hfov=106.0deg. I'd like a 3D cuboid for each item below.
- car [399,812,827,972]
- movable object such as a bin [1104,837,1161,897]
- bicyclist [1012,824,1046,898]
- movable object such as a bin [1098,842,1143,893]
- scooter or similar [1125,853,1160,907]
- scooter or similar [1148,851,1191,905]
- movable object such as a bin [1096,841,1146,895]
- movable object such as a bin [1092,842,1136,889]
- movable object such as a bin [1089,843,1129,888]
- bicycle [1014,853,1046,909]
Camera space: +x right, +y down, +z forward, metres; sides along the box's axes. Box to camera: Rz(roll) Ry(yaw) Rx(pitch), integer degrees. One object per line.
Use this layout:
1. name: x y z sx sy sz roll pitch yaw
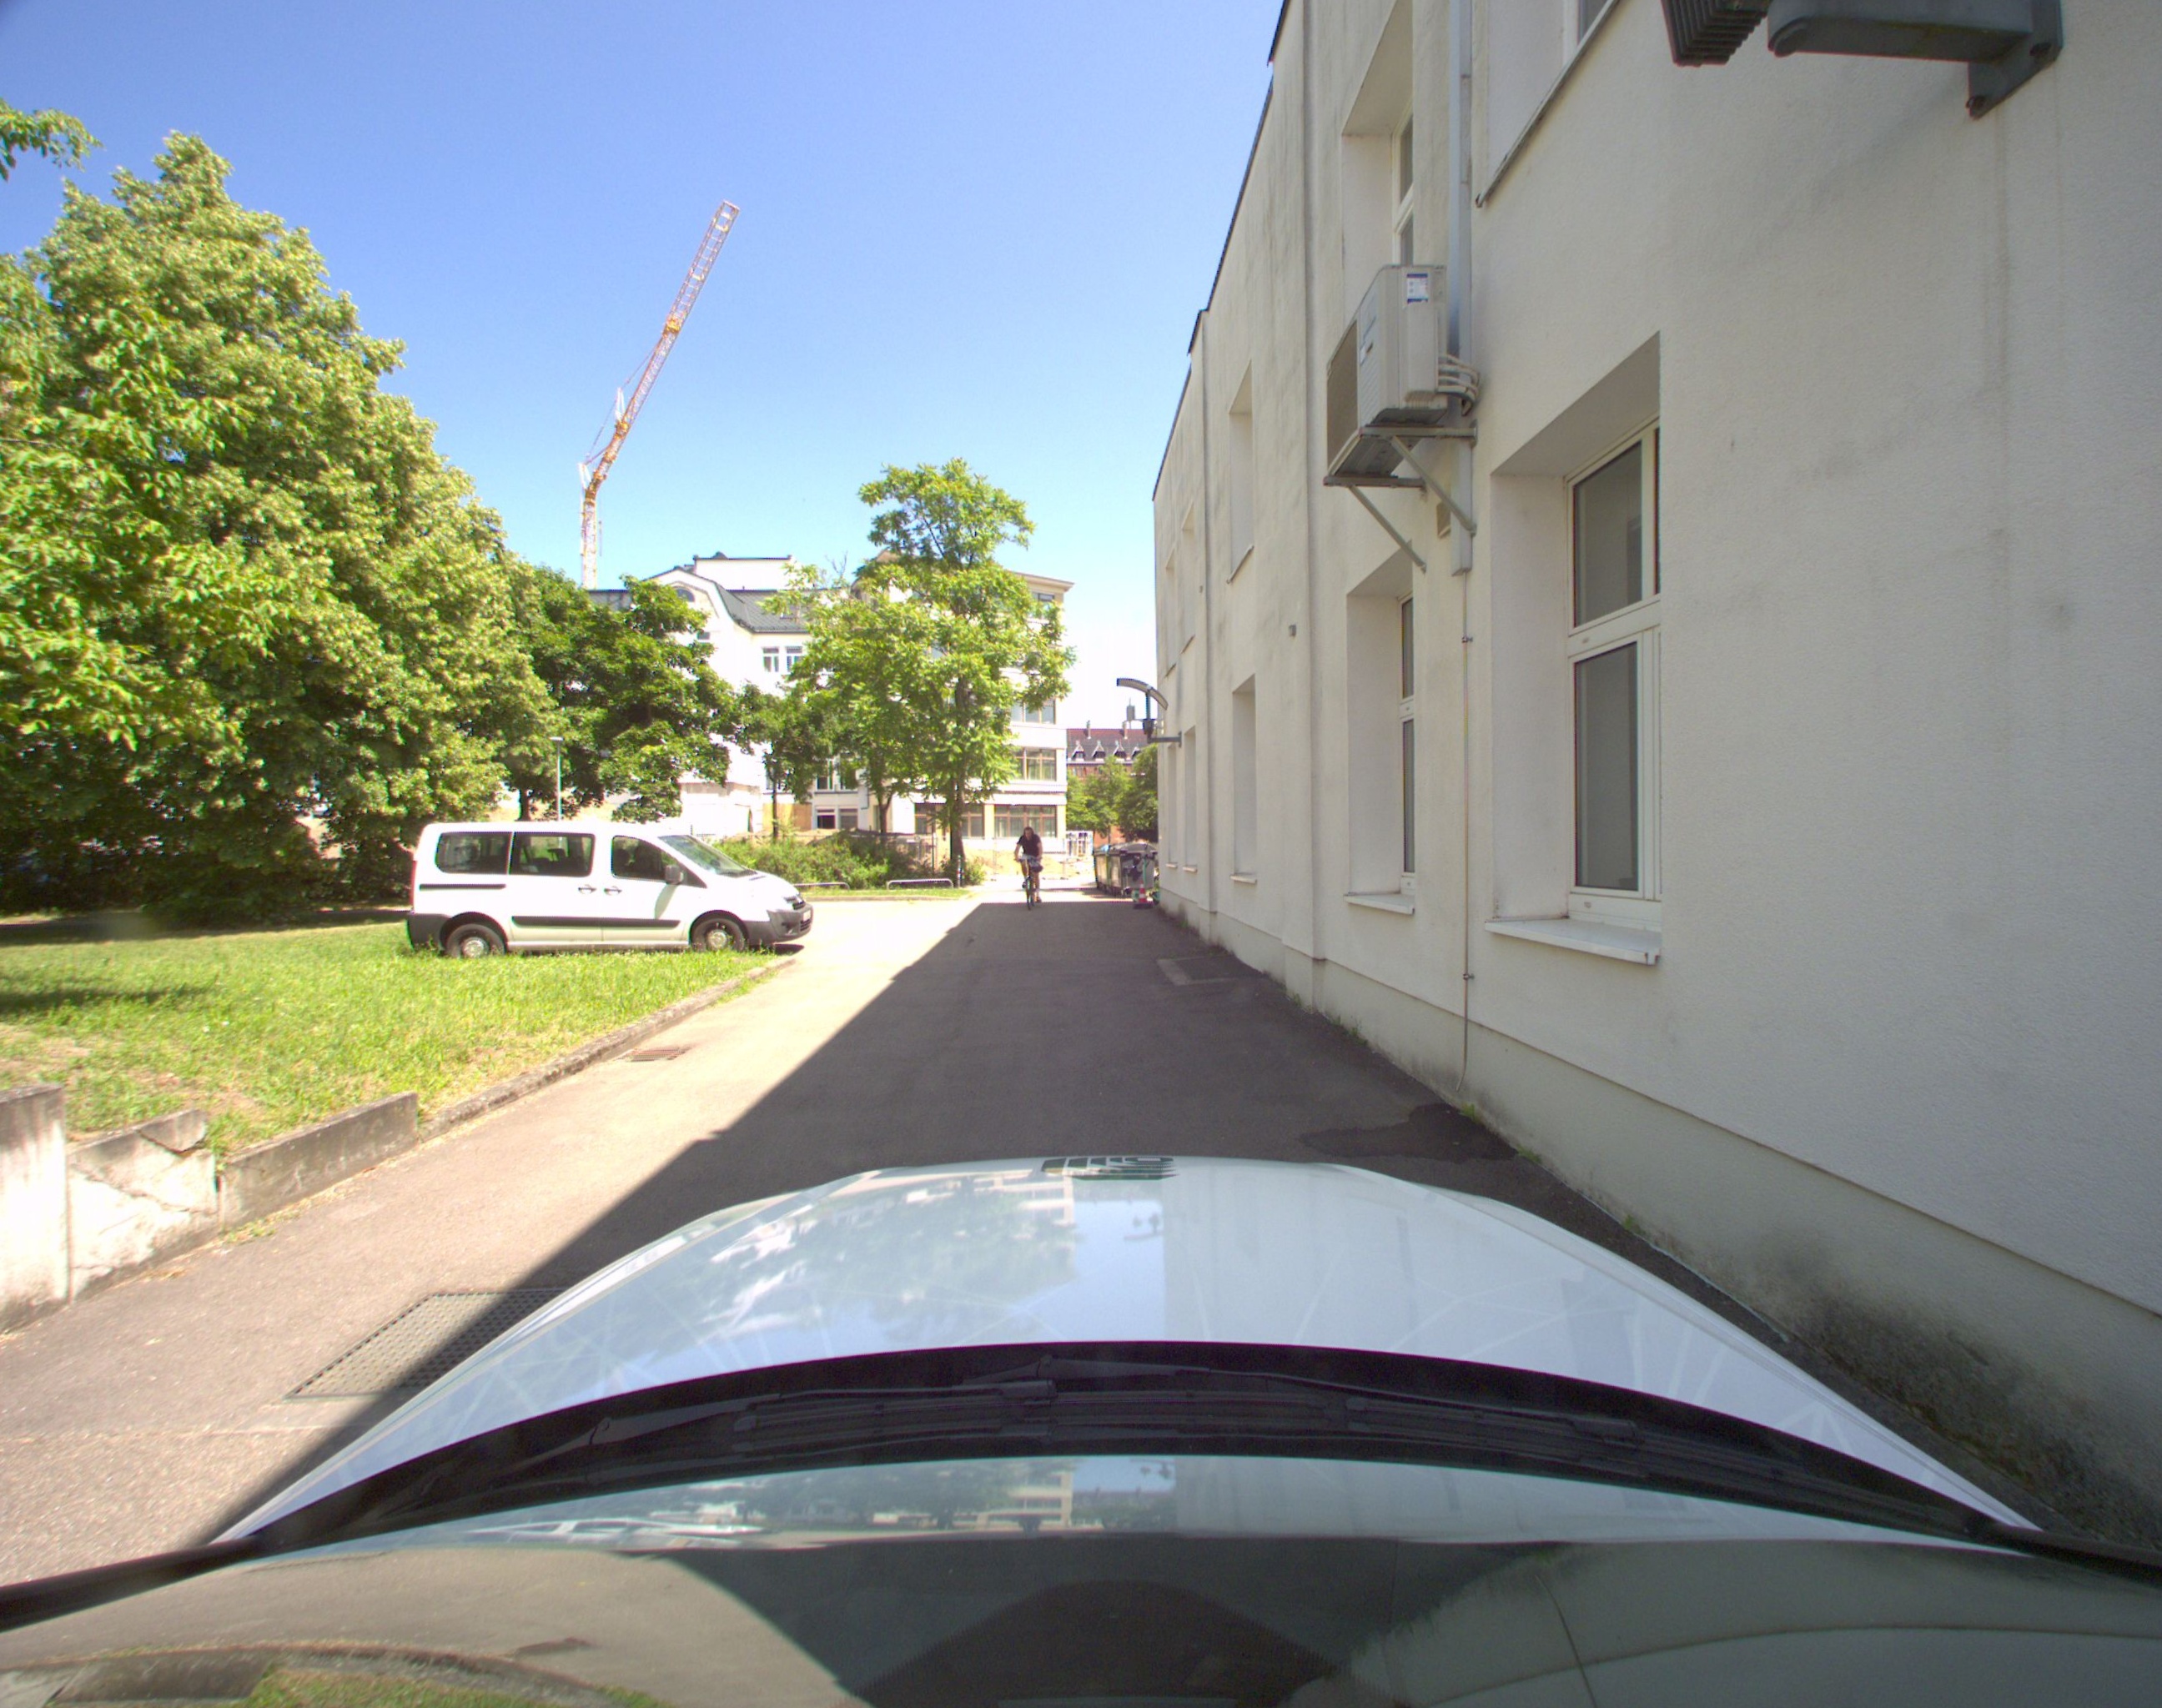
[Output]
1. car: -6.283 0.469 11.521 4.784 1.911 1.995 -1 -1 -8
2. movable object such as a bin: 1.323 0.335 21.385 1.155 1.505 1.457 0 -1 -11
3. bicyclist: -1.181 0.149 18.367 0.722 1.609 0.976 0 0 -6
4. movable object such as a bin: 1.164 0.395 24.497 1.177 1.470 1.309 0 -1 -6
5. scooter or similar: 1.379 0.564 18.445 0.464 1.174 1.352 -1 0 -11
6. scooter or similar: 1.995 0.534 18.463 0.465 1.174 1.248 -1 0 -19
7. movable object such as a bin: 1.112 0.383 23.109 1.178 1.470 1.308 0 -1 -9
8. movable object such as a bin: 1.038 0.364 25.932 1.178 1.470 1.308 0 -1 -8
9. movable object such as a bin: 0.966 0.378 27.469 1.172 1.470 1.336 -1 -1 9
10. bicycle: -1.171 0.585 18.425 0.643 1.174 1.901 -1 1 -6
